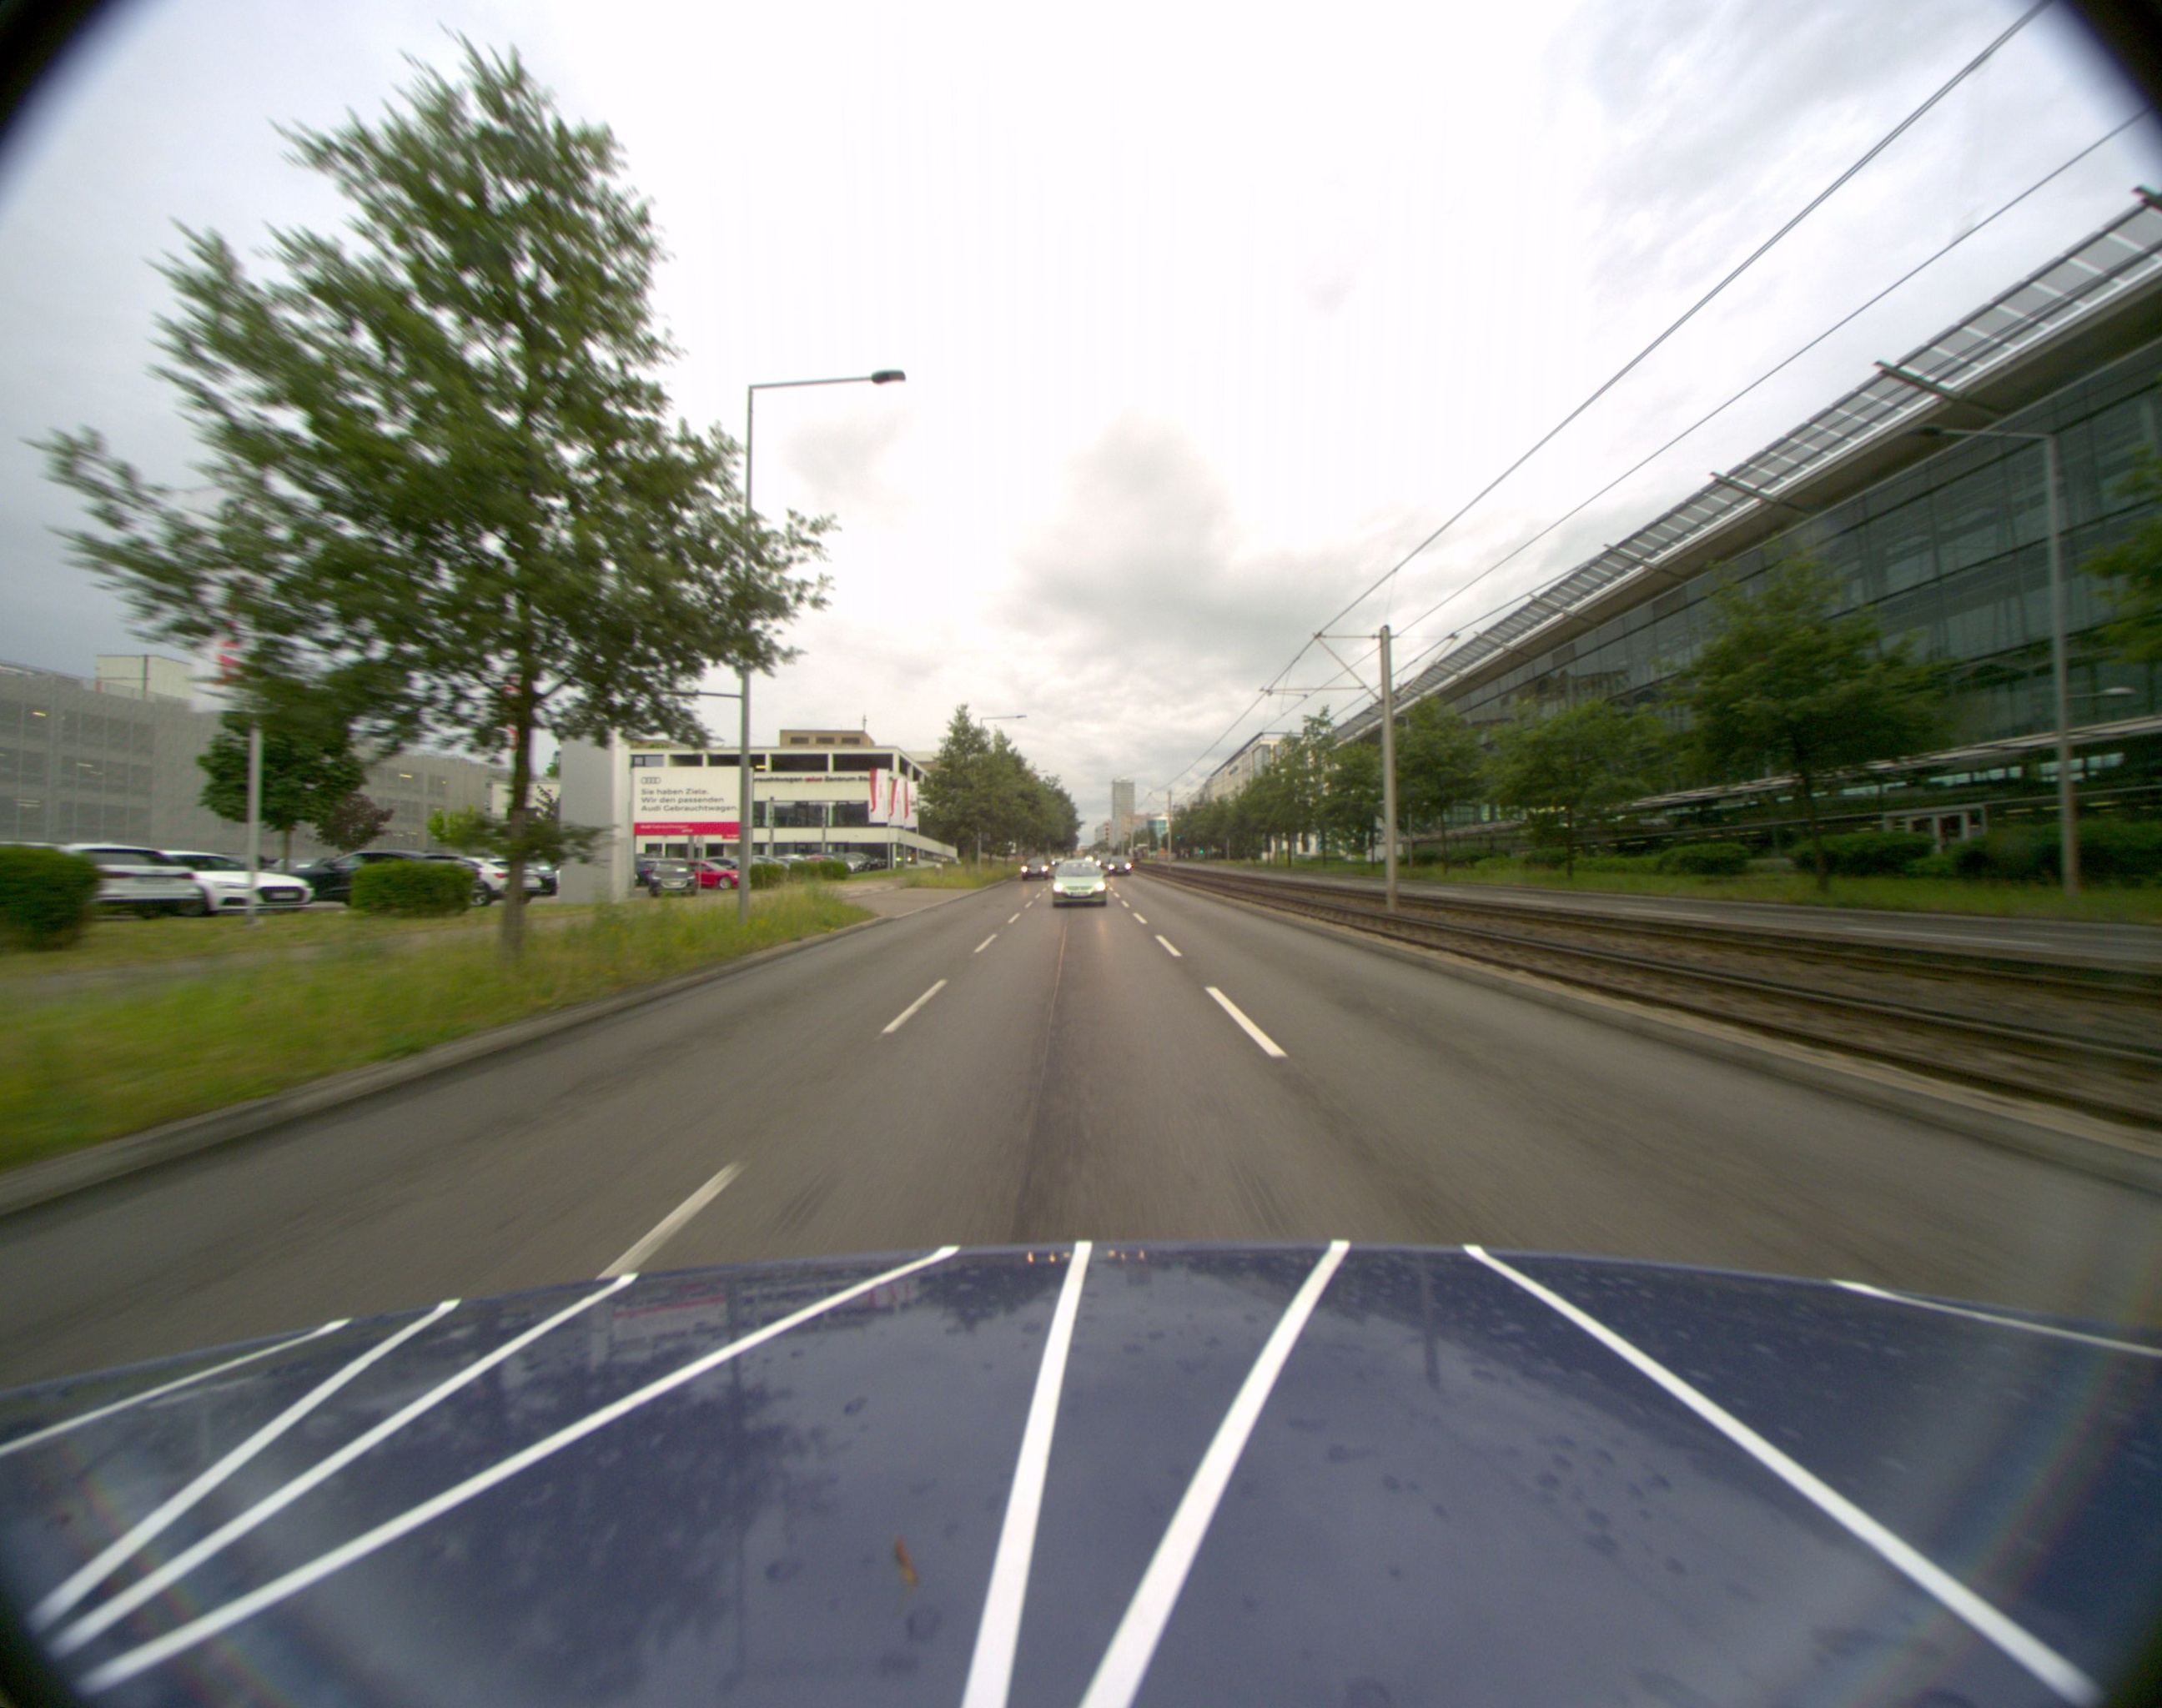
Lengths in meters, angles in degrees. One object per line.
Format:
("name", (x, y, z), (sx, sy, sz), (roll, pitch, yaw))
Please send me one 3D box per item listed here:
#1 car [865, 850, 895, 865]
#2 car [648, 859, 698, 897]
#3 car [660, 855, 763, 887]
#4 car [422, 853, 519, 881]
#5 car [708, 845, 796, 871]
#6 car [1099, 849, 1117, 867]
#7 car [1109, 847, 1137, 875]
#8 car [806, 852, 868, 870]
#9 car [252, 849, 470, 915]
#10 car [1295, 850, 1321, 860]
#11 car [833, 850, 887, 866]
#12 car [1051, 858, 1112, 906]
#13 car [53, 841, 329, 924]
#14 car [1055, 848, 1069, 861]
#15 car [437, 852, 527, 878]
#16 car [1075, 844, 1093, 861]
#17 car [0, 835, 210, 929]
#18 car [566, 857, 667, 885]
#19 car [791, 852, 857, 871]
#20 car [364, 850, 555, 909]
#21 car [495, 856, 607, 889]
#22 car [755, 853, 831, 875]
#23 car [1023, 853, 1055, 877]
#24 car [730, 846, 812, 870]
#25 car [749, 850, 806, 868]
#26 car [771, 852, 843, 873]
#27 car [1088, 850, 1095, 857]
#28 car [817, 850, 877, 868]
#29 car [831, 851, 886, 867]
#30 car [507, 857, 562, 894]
("car", (-19.728, 0.312, 74.684), (1.902, 1.330, 3.921), (-1, 1, -1))
("car", (-19.186, 1.066, 35.641), (1.841, 1.584, 4.349), (-1, 1, -31))
("car", (-19.597, 0.891, 40.433), (4.474, 1.542, 1.930), (-1, 1, -5))
("car", (-37.234, 0.777, 46.421), (4.288, 1.584, 1.826), (-1, 1, -2))
("car", (-20.018, 0.233, 46.360), (4.473, 1.542, 1.930), (0, 1, -1))
("car", (2.966, 0.481, 83.620), (1.860, 1.799, 4.115), (-2, -1, 3))
("car", (3.260, 0.505, 58.719), (1.998, 2.002, 4.000), (-3, 1, 3))
("car", (-19.580, 0.525, 61.100), (4.408, 1.419, 1.890), (0, 1, 0))
("car", (-19.666, 0.733, 20.912), (4.116, 1.585, 1.871), (-2, 1, -1))
("car", (38.216, 0.148, 127.860), (3.990, 1.383, 1.806), (-2, 1, 27))
("car", (-20.393, 0.357, 70.349), (4.409, 1.473, 1.930), (-1, 1, -1))
("car", (0.098, 0.942, 26.883), (1.828, 1.499, 4.115), (-2, -1, 4))
("car", (-19.135, 0.579, 16.445), (4.114, 1.585, 1.693), (-2, 1, 4))
("car", (-3.037, 0.117, 119.617), (1.860, 1.799, 4.115), (-2, -1, 3))
("car", (-38.594, 0.666, 49.039), (4.288, 1.584, 1.826), (-1, 1, -2))
("car", (0.404, -0.238, 98.415), (1.998, 2.002, 4.000), (-2, 1, 3))
("car", (-19.157, 0.491, 13.821), (4.531, 1.585, 1.692), (-1, 1, -1))
("car", (-26.287, 0.938, 43.142), (4.474, 1.542, 1.930), (0, 1, -5))
("car", (-19.809, 0.568, 58.700), (4.409, 1.341, 1.930), (1, 2, -1))
("car", (-19.156, 0.746, 23.615), (4.118, 1.585, 1.946), (-2, 2, -8))
("car", (-27.886, 0.955, 40.119), (4.474, 1.542, 1.930), (1, 1, -5))
("car", (-19.719, 0.683, 52.154), (4.473, 1.447, 1.930), (0, 1, -1))
("car", (-2.955, 0.778, 54.248), (1.828, 1.599, 4.116), (-2, -1, 3))
("car", (-20.055, 0.224, 49.256), (4.473, 1.520, 1.930), (0, 1, -1))
("car", (-26.622, 0.415, 66.765), (4.288, 1.542, 1.826), (-1, 1, -2))
("car", (-19.858, 0.614, 55.186), (4.473, 1.447, 1.930), (-1, 1, -1))
("car", (3.134, -0.086, 226.273), (1.998, 1.838, 4.000), (-2, 1, 2))
("car", (-19.725, 0.411, 64.183), (4.408, 1.492, 2.040), (0, 1, 0))
("car", (-19.637, 0.454, 67.181), (4.331, 1.370, 1.836), (0, 1, -2))
("car", (-25.436, 0.956, 35.462), (1.775, 1.584, 3.983), (1, 0, -32))
